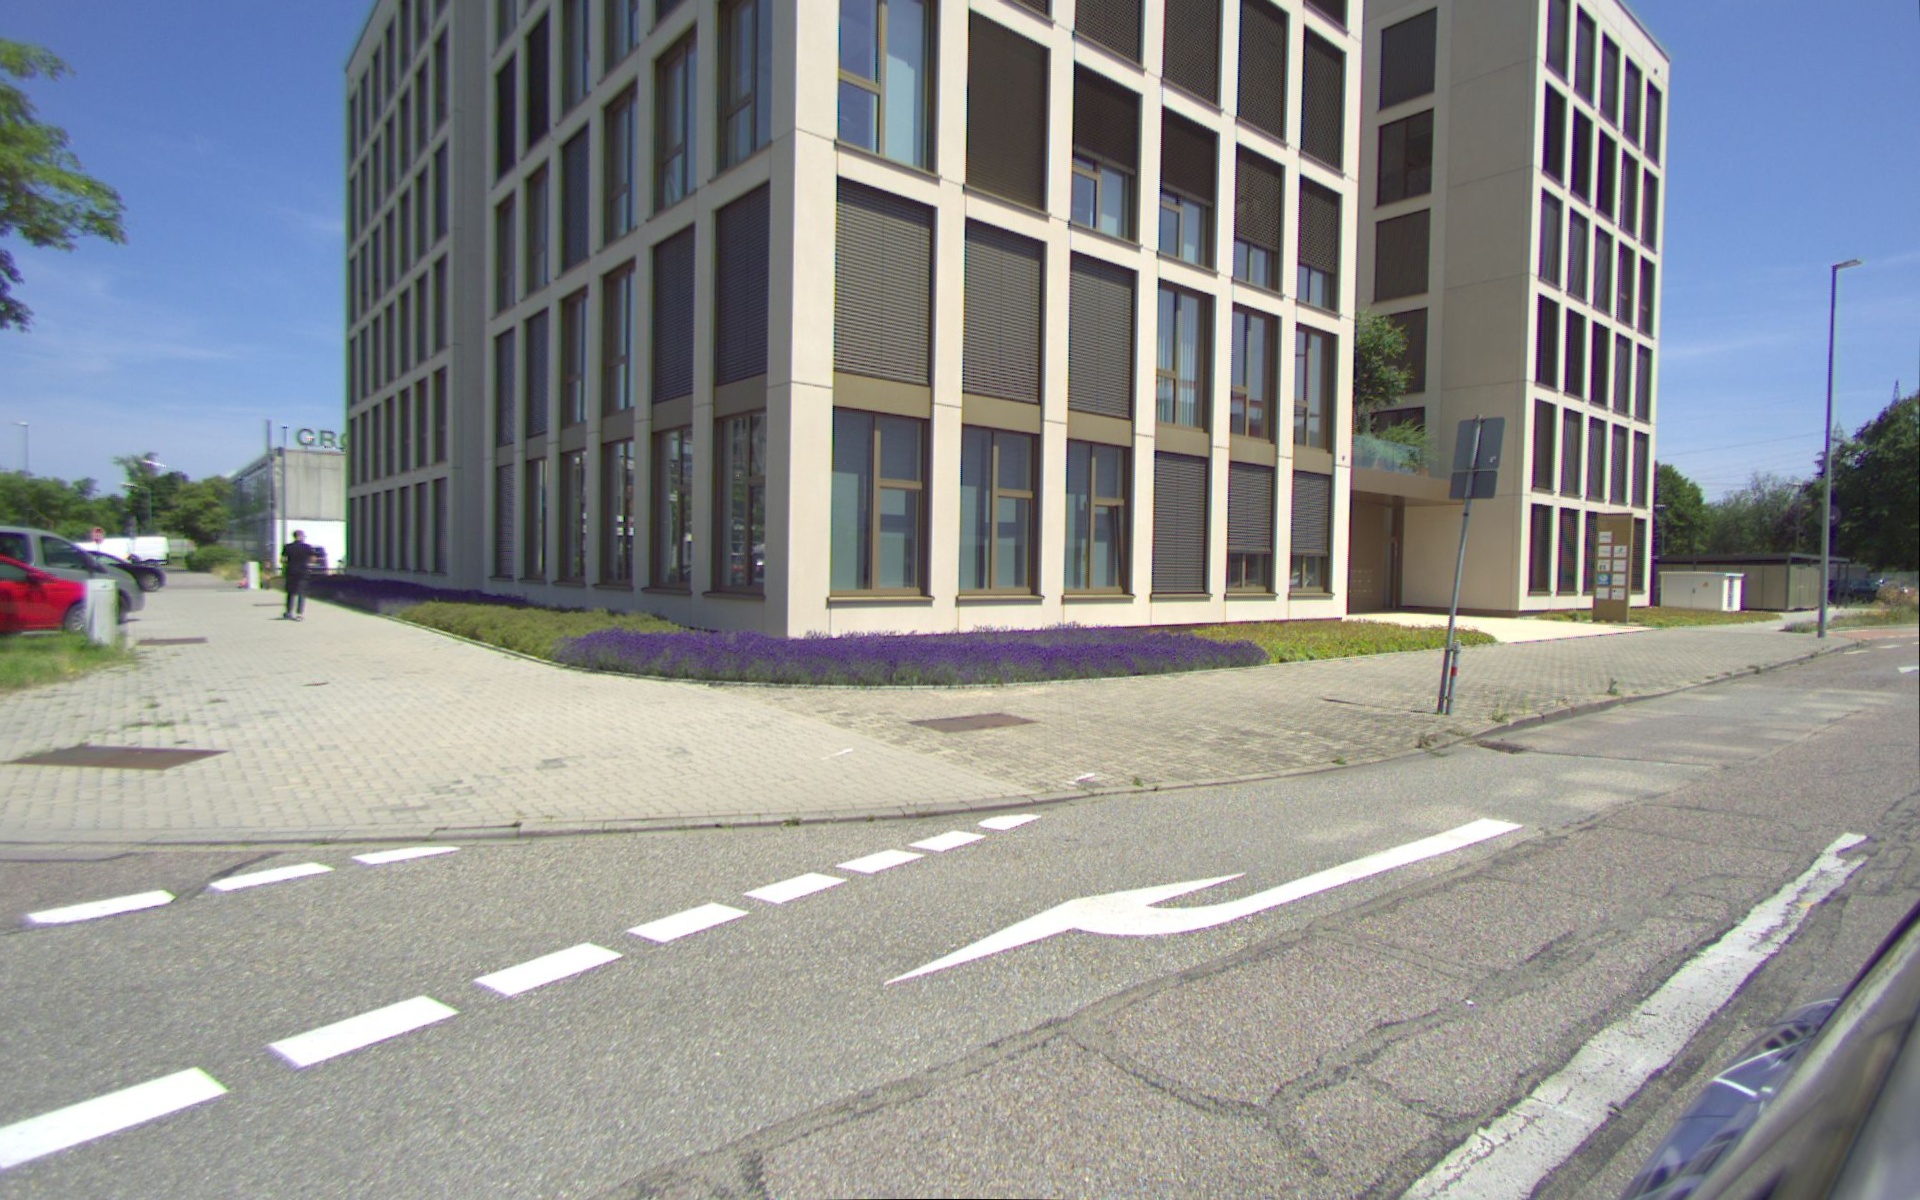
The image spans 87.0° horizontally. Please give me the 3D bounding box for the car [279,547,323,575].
[{"bbox_3d":[-37.954,-2.278,58.279,1.758,1.540,3.574,-1,3,-39],"label":"car"}]

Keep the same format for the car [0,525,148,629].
[{"bbox_3d":[-17.767,-0.432,18.419,1.676,1.838,4.899,1,2,7],"label":"car"}]

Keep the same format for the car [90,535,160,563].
[{"bbox_3d":[-67.504,-4.112,81.901,4.280,2.146,2.094,0,2,-37],"label":"car"}]

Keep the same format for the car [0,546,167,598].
[{"bbox_3d":[-29.076,-0.972,33.510,1.792,1.557,4.131,0,3,19],"label":"car"}]

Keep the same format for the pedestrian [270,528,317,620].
[{"bbox_3d":[-13.831,-0.556,21.027,0.758,1.867,0.869,-1,3,-32],"label":"pedestrian"}]

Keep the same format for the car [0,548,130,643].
[{"bbox_3d":[-15.406,-0.085,15.613,1.584,1.452,3.991,1,2,9],"label":"car"}]

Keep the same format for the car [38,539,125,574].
[{"bbox_3d":[-54.919,-2.712,63.358,3.925,2.038,2.000,0,2,-36],"label":"car"}]

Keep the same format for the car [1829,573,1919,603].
[{"bbox_3d":[55.713,-0.730,61.558,3.960,1.682,1.822,2,3,26],"label":"car"}]

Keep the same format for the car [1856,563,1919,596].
[{"bbox_3d":[59.213,-1.308,63.538,3.958,1.977,1.984,2,2,25],"label":"car"}]

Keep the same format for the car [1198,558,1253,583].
[{"bbox_3d":[21.065,-2.345,80.373,3.921,1.874,2.002,0,2,-31],"label":"car"}]
